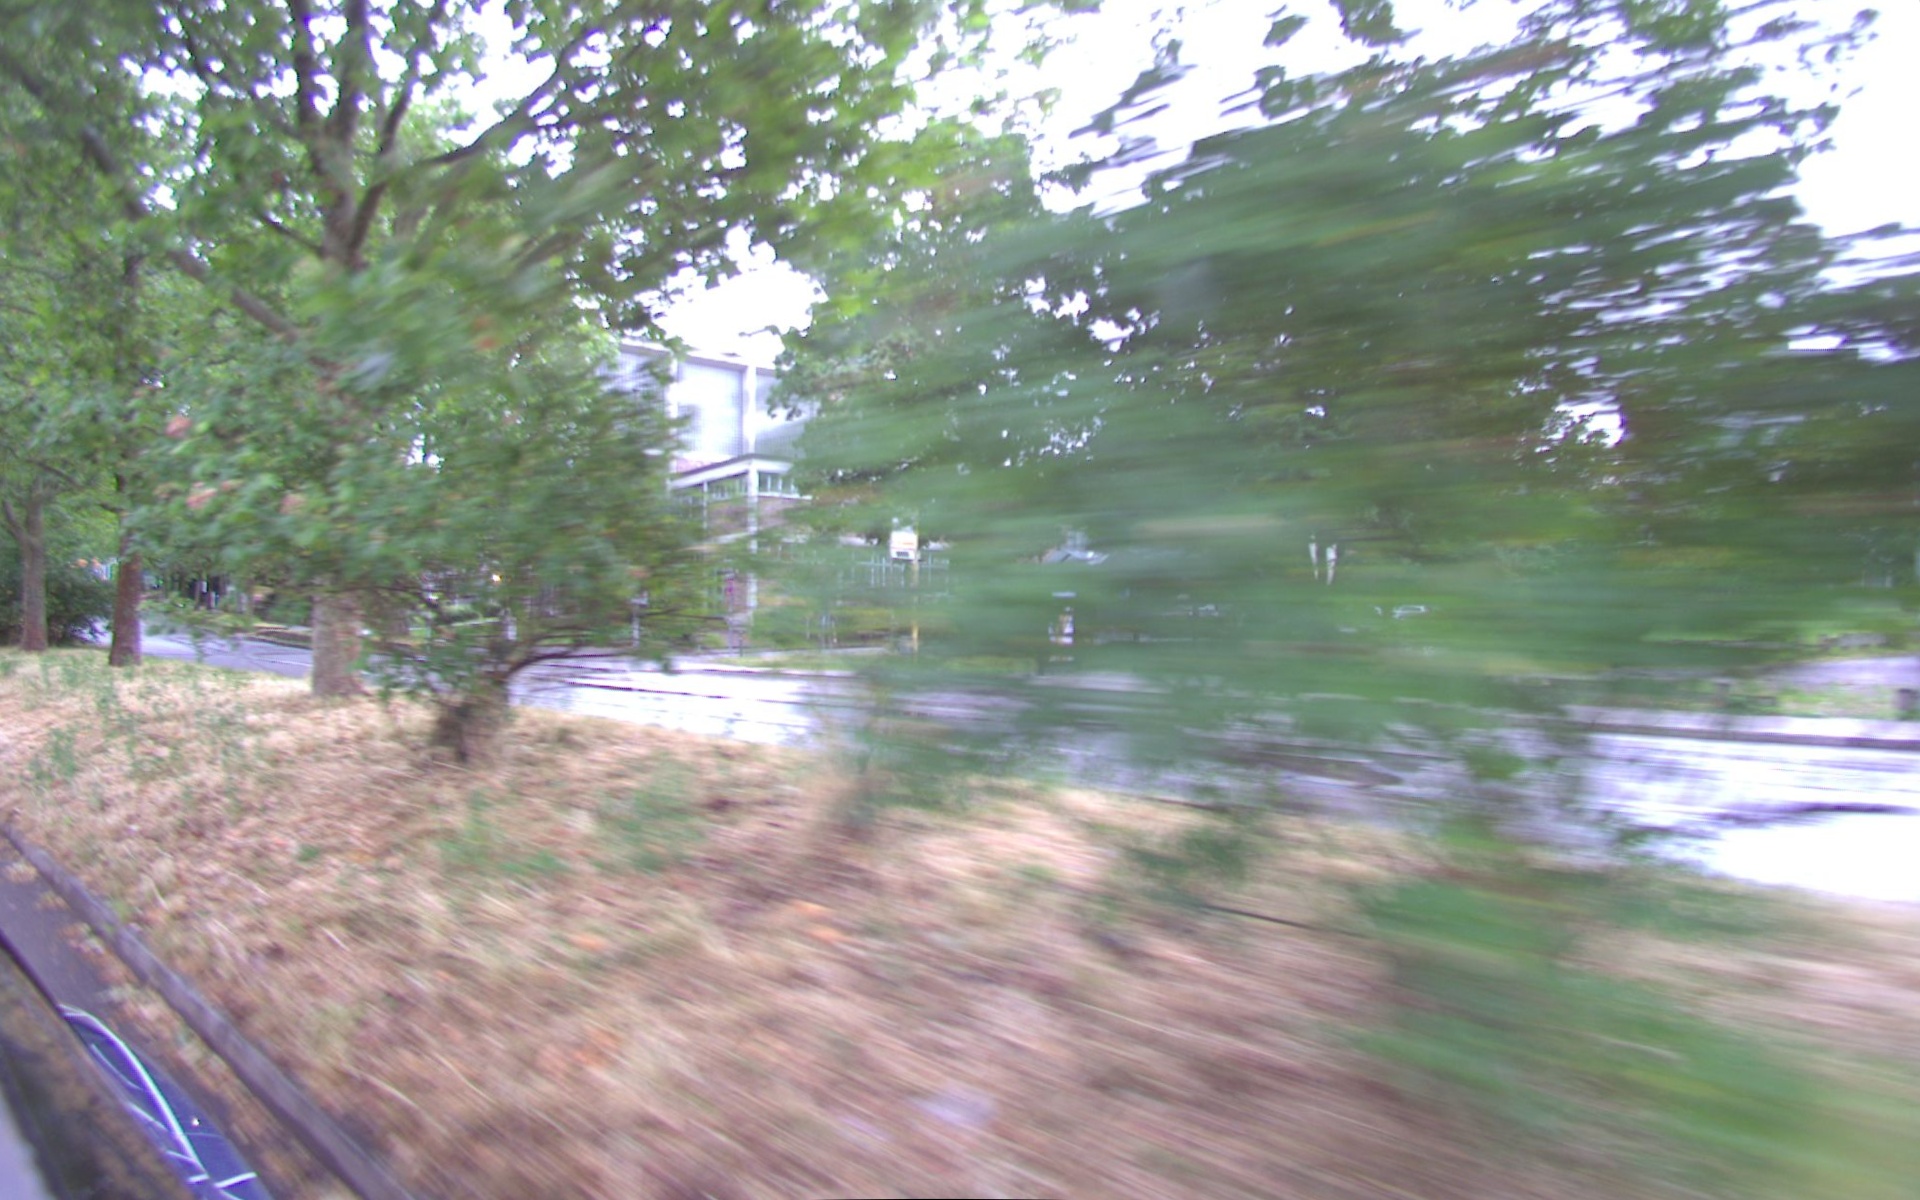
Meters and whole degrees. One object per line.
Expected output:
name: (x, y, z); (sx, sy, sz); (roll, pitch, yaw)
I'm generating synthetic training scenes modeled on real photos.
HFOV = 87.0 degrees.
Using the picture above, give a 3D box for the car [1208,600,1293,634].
car: (18.927, 1.067, 66.154); (2.251, 2.037, 5.091); (-1, 1, -36)

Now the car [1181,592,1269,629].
car: (16.838, 0.617, 64.623); (2.080, 2.229, 5.483); (-1, 1, -33)
